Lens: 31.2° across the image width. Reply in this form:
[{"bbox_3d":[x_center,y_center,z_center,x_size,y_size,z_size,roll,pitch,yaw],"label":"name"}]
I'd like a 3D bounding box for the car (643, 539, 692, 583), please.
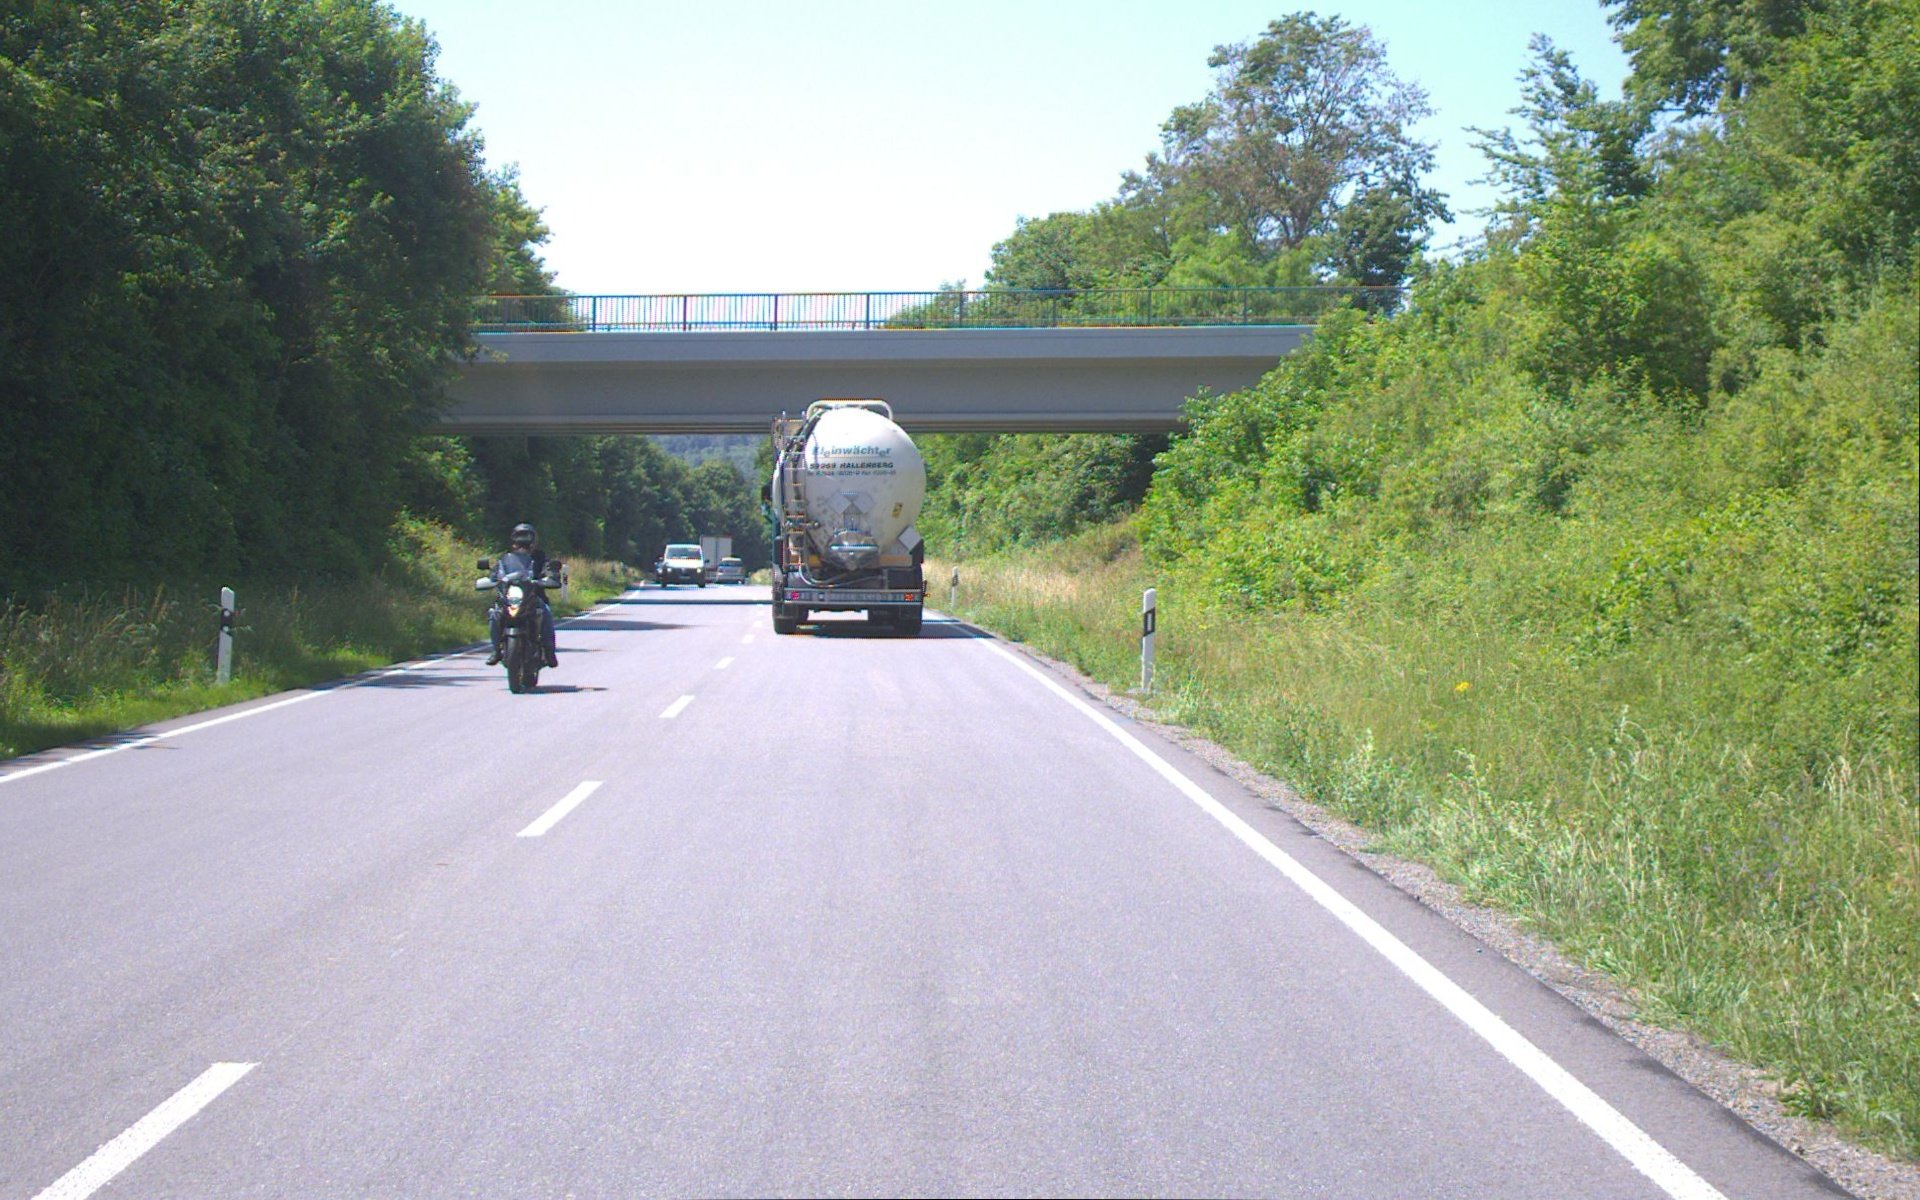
[{"bbox_3d":[-12.737,-1.720,149.860,1.931,1.899,5.328,0,1,-3],"label":"car"}]

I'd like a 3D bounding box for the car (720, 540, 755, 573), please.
[{"bbox_3d":[-13.523,-2.647,208.429,1.993,2.007,4.001,1,1,-5],"label":"car"}]

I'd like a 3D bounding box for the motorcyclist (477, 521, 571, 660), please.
[{"bbox_3d":[-4.568,-0.107,36.088,0.849,1.433,1.074,0,1,0],"label":"motorcyclist"}]

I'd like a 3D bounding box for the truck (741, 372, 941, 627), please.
[{"bbox_3d":[-2.245,-1.617,63.692,3.049,3.985,15.637,3,0,-2],"label":"truck"}]

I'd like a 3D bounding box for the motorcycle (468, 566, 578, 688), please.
[{"bbox_3d":[-4.567,0.263,36.121,0.863,1.216,2.443,0,1,0],"label":"motorcycle"}]
